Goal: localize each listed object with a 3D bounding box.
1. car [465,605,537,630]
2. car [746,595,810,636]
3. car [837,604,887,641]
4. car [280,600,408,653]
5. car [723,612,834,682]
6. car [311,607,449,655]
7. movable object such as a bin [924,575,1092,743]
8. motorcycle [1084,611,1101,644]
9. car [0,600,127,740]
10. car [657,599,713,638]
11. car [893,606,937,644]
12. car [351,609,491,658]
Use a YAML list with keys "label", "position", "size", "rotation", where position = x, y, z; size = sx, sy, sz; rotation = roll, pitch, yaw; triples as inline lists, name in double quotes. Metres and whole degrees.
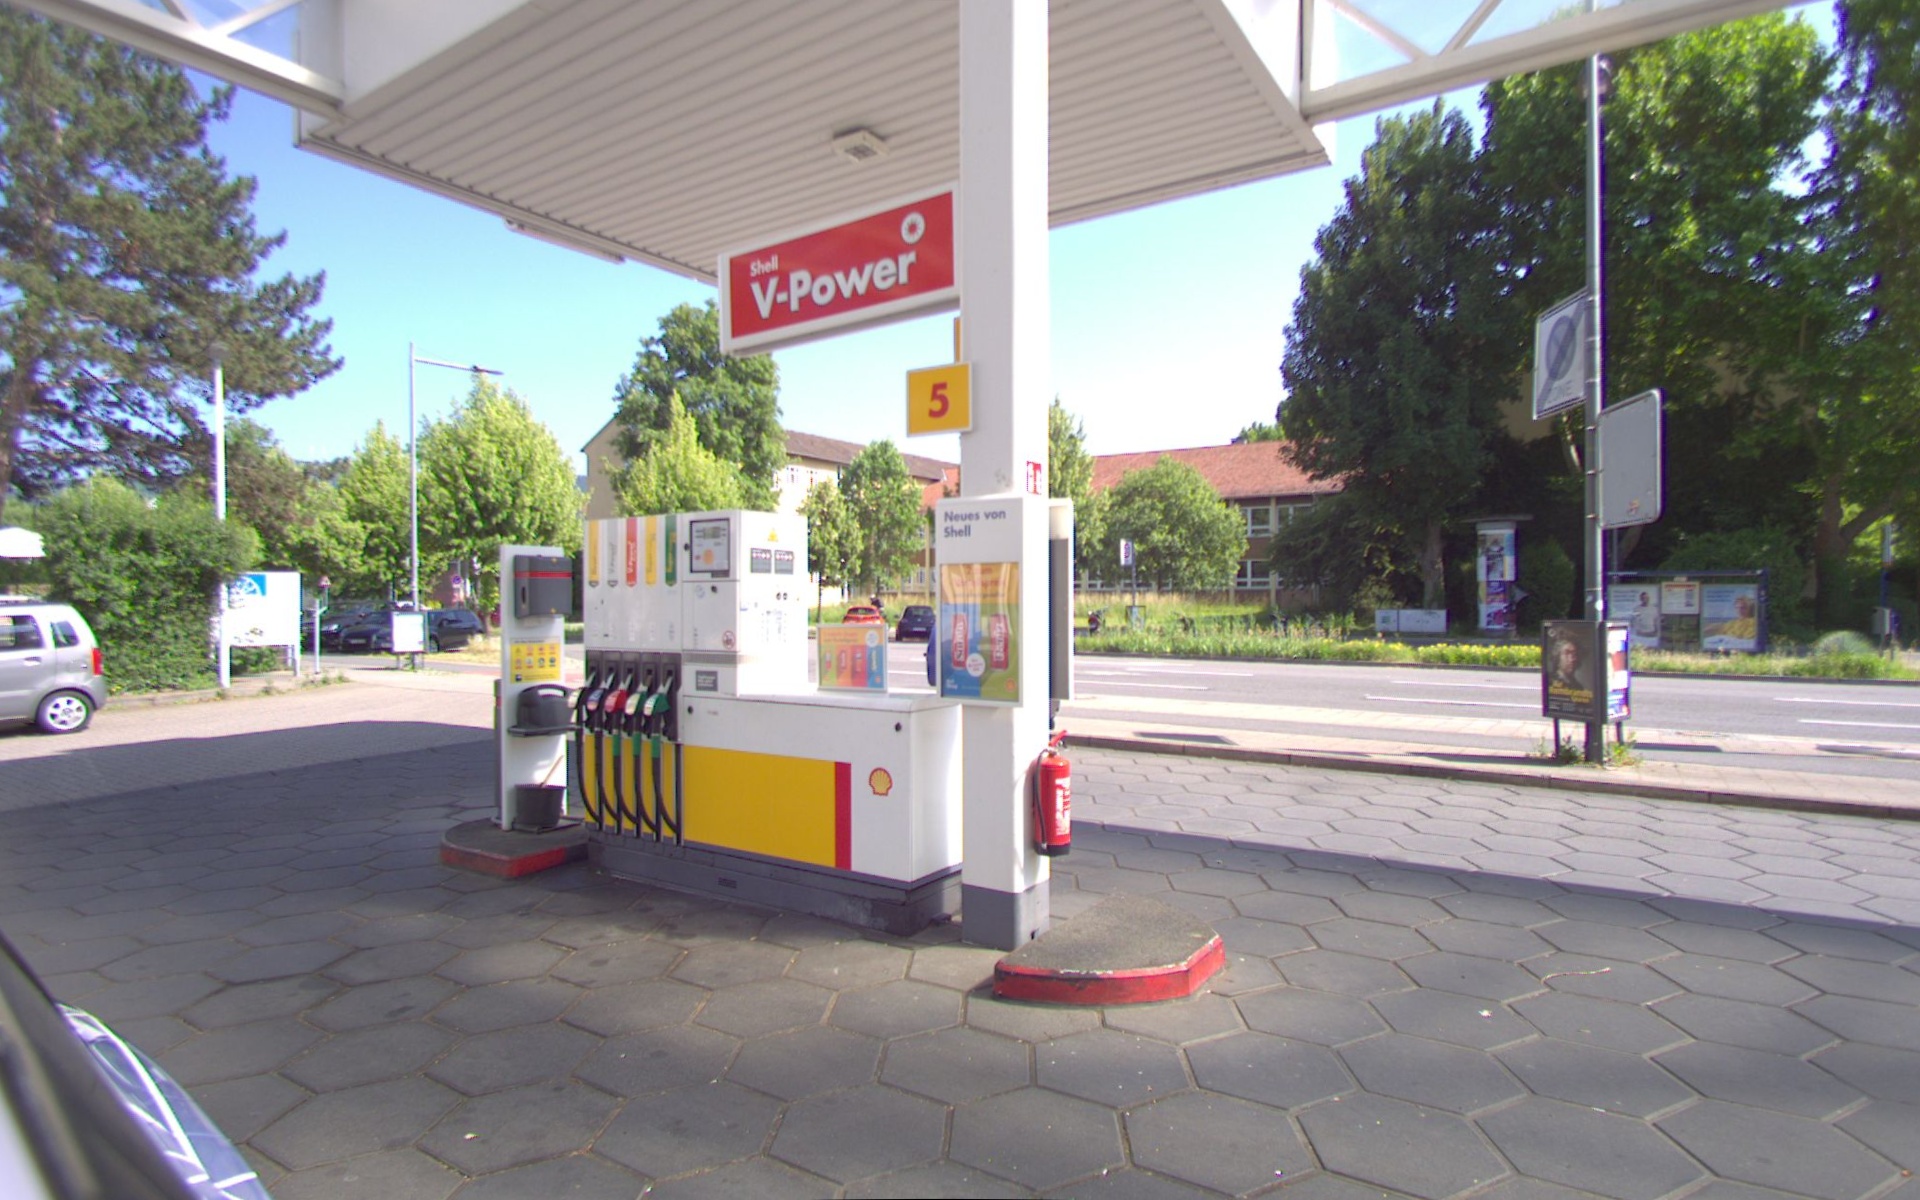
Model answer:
- label: "car"
  position: [-26.370, 1.023, 58.248]
  size: [1.864, 1.401, 3.707]
  rotation: [1, -2, 15]
- label: "car"
  position: [-8.295, 0.722, 46.429]
  size: [1.858, 1.735, 4.219]
  rotation: [1, -1, 5]
- label: "car"
  position: [-4.138, 0.949, 43.286]
  size: [1.854, 1.471, 4.227]
  rotation: [1, -1, -2]
- label: "car"
  position: [-21.405, 0.909, 35.398]
  size: [1.682, 1.733, 4.401]
  rotation: [0, -1, 2]
- label: "car"
  position: [-4.814, 1.202, 27.444]
  size: [1.936, 1.719, 4.302]
  rotation: [-1, 0, 4]
- label: "car"
  position: [-19.311, 1.030, 33.932]
  size: [1.859, 1.493, 4.216]
  rotation: [0, -1, 7]
- label: "movable object such as a bin"
  position: [0.547, 0.621, 11.214]
  size: [1.334, 1.701, 1.327]
  rotation: [0, -2, 35]
- label: "motorcycle"
  position: [4.827, 0.986, 36.824]
  size: [0.551, 1.122, 1.753]
  rotation: [0, 0, 10]
- label: "car"
  position: [-12.490, 0.870, 12.072]
  size: [1.689, 1.629, 3.619]
  rotation: [0, 1, 36]
- label: "car"
  position: [-13.053, 0.881, 48.301]
  size: [1.853, 1.735, 4.230]
  rotation: [1, -1, -5]
- label: "car"
  position: [-1.831, 1.020, 41.824]
  size: [1.716, 1.471, 4.227]
  rotation: [0, -1, -2]
- label: "car"
  position: [-17.042, 1.056, 32.269]
  size: [1.859, 1.428, 4.216]
  rotation: [0, -2, 7]
